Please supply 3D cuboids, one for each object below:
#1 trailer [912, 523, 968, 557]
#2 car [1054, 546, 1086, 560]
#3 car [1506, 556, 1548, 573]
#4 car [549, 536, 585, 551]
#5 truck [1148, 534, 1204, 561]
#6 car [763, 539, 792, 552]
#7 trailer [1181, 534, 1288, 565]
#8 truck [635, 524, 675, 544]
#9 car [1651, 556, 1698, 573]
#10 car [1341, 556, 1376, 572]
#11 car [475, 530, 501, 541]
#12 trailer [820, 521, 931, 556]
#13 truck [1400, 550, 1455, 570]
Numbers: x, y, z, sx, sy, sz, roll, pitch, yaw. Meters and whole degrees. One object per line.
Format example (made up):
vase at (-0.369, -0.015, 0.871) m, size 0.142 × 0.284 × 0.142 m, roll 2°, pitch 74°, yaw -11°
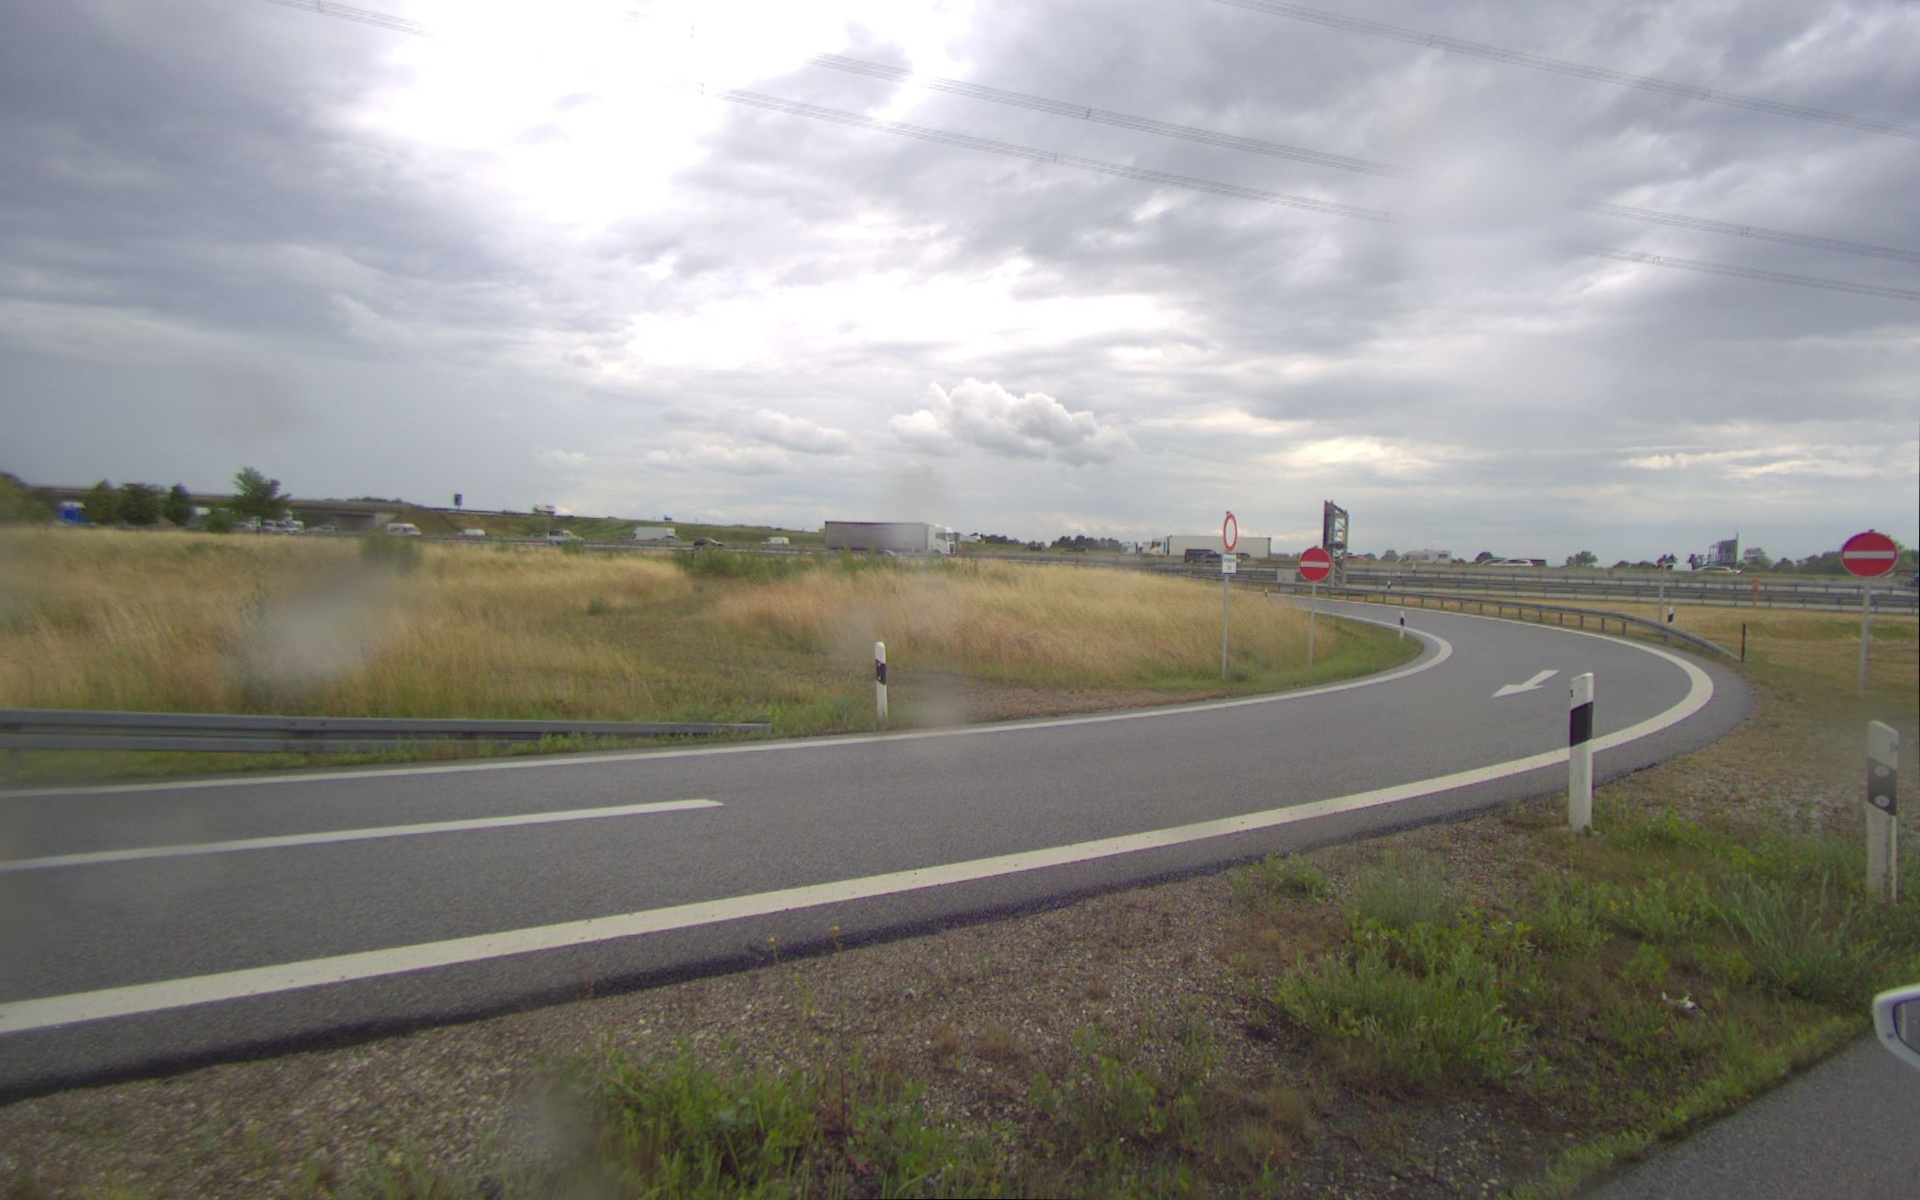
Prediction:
trailer at (-2.321, -6.990, 117.096) m, size 5.783 × 3.835 × 2.847 m, roll 3°, pitch 4°, yaw 22°
car at (14.591, -6.257, 133.099) m, size 3.924 × 1.874 × 1.890 m, roll 1°, pitch 3°, yaw 25°
car at (64.417, -4.012, 114.227) m, size 3.924 × 1.874 × 1.890 m, roll 1°, pitch 3°, yaw 25°
car at (-55.830, -8.068, 142.689) m, size 4.681 × 1.958 × 1.999 m, roll 3°, pitch 3°, yaw 20°
truck at (30.323, -7.383, 140.876) m, size 7.235 × 3.589 × 2.823 m, roll 3°, pitch 4°, yaw 21°
car at (-27.539, -8.195, 151.669) m, size 3.924 × 1.874 × 1.890 m, roll 1°, pitch 3°, yaw 25°
trailer at (37.617, -6.986, 137.926) m, size 13.828 × 3.721 × 2.857 m, roll 3°, pitch 4°, yaw 22°
truck at (-53.040, -11.476, 174.884) m, size 6.971 × 3.518 × 1.999 m, roll 1°, pitch 3°, yaw 23°
car at (79.818, -3.934, 112.276) m, size 3.924 × 1.874 × 1.890 m, roll 1°, pitch 3°, yaw 25°
car at (49.051, -4.427, 123.658) m, size 3.924 × 1.874 × 1.890 m, roll 1°, pitch 3°, yaw 25°
car at (-81.992, -11.260, 174.430) m, size 3.924 × 1.874 × 1.890 m, roll 1°, pitch 3°, yaw 25°
trailer at (-10.178, -7.382, 120.356) m, size 13.395 × 3.834 × 2.857 m, roll 3°, pitch 4°, yaw 23°
truck at (59.941, -5.151, 128.953) m, size 6.187 × 2.534 × 1.999 m, roll 1°, pitch 3°, yaw 22°
